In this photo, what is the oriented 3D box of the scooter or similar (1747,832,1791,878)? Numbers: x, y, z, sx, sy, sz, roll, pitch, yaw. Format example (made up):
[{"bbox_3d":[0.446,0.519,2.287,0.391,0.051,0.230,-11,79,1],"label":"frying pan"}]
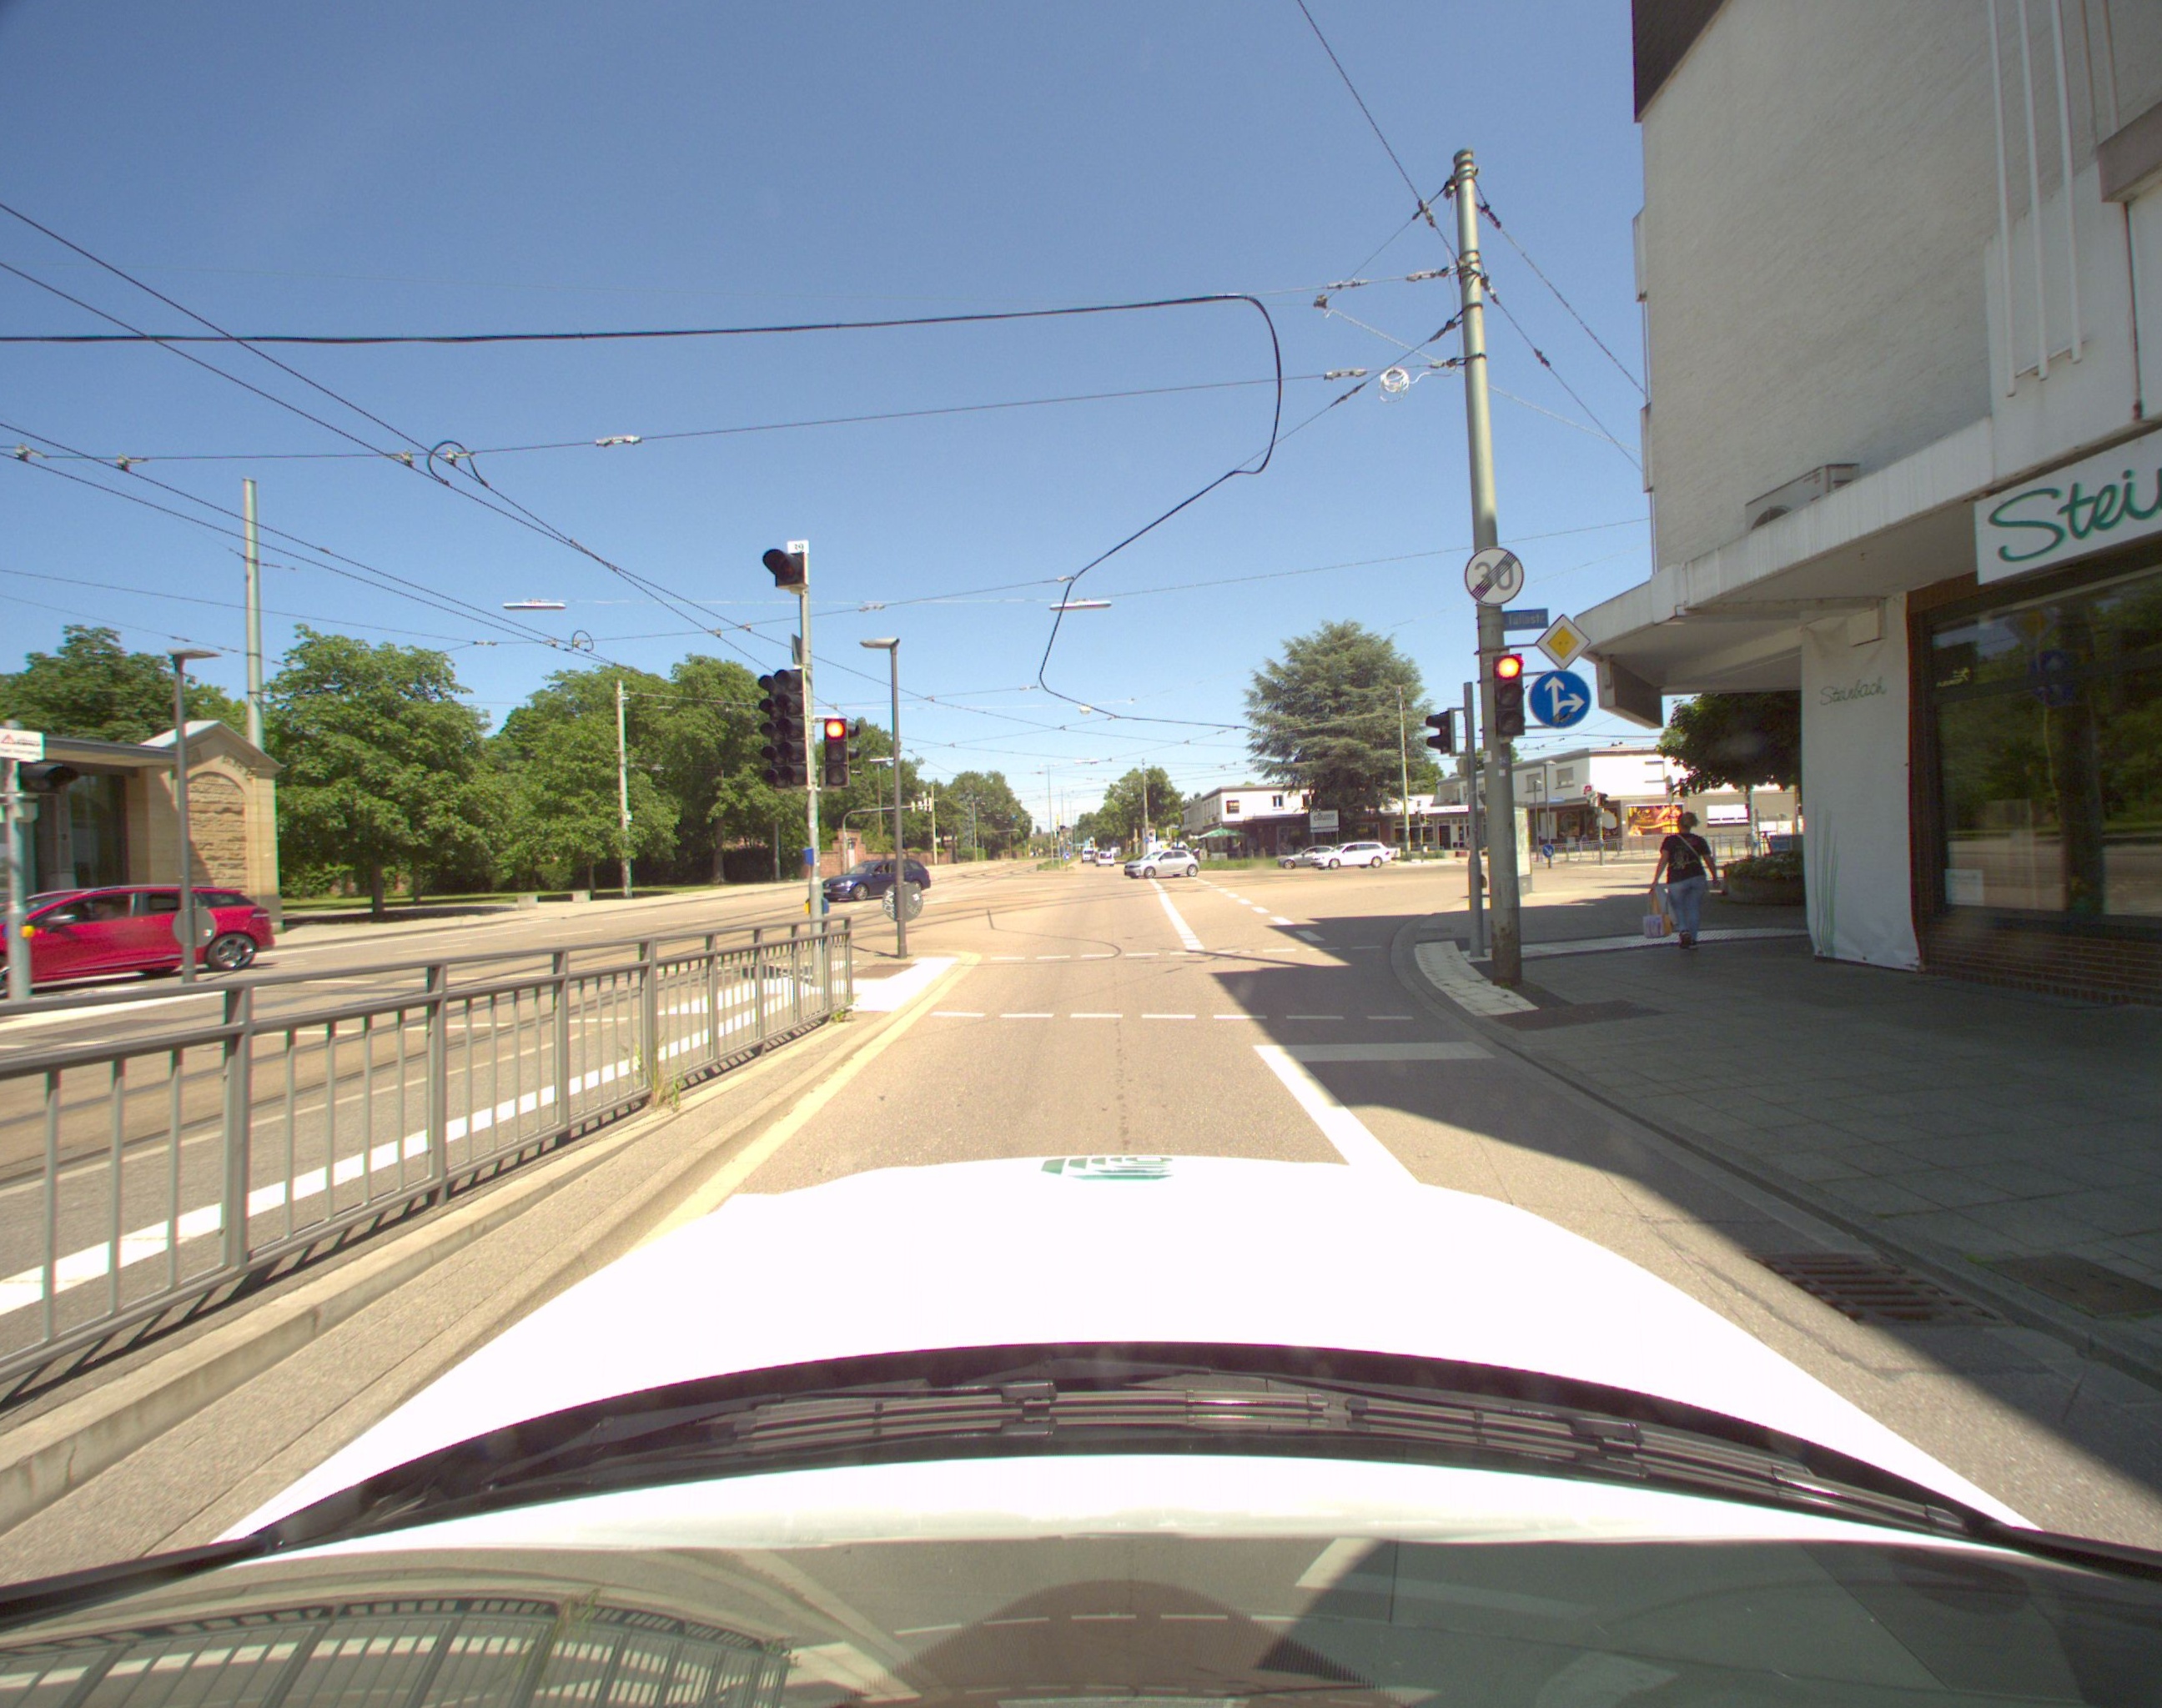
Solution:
[{"bbox_3d":[18.642,0.023,22.065,1.258,1.212,0.391,-2,0,-26],"label":"scooter or similar"}]

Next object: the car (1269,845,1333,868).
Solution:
[{"bbox_3d":[13.840,0.149,51.452,3.802,1.351,1.648,-2,0,14],"label":"car"}]

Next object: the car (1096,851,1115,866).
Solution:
[{"bbox_3d":[2.483,0.430,81.967,1.666,1.435,3.472,-2,0,-2],"label":"car"}]

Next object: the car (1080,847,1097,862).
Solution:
[{"bbox_3d":[0.937,0.071,103.525,1.988,1.860,3.998,-2,0,-1],"label":"car"}]

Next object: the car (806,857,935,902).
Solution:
[{"bbox_3d":[-7.831,0.916,30.664,1.838,1.442,4.507,-2,0,36],"label":"car"}]

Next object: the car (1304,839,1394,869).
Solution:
[{"bbox_3d":[15.141,0.000,46.049,4.480,1.489,1.819,-2,0,-7],"label":"car"}]

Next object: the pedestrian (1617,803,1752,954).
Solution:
[{"bbox_3d":[6.893,0.271,9.357,0.822,1.583,0.828,-6,-1,7],"label":"pedestrian"}]

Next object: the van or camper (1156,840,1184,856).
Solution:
[{"bbox_3d":[15.648,-1.032,143.284,4.742,2.671,2.135,-2,0,-1],"label":"van or camper"}]

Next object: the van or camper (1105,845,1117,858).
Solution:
[{"bbox_3d":[5.609,-0.437,152.972,1.988,2.464,3.998,-2,0,-2],"label":"van or camper"}]

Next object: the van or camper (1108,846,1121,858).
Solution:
[{"bbox_3d":[5.381,-0.347,130.492,1.915,1.772,4.002,-2,0,2],"label":"van or camper"}]

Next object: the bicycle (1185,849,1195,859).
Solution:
[{"bbox_3d":[11.317,0.002,84.434,1.028,1.014,2.643,-2,0,8],"label":"bicycle"}]

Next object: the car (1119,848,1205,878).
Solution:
[{"bbox_3d":[4.182,0.470,42.114,4.060,1.362,1.808,-2,0,-27],"label":"car"}]

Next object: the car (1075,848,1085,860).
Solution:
[{"bbox_3d":[-0.247,0.038,136.727,1.417,2.013,3.626,-2,0,-3],"label":"car"}]

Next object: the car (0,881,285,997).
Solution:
[{"bbox_3d":[-14.942,1.248,12.019,1.806,1.395,4.188,-5,0,11],"label":"car"}]
